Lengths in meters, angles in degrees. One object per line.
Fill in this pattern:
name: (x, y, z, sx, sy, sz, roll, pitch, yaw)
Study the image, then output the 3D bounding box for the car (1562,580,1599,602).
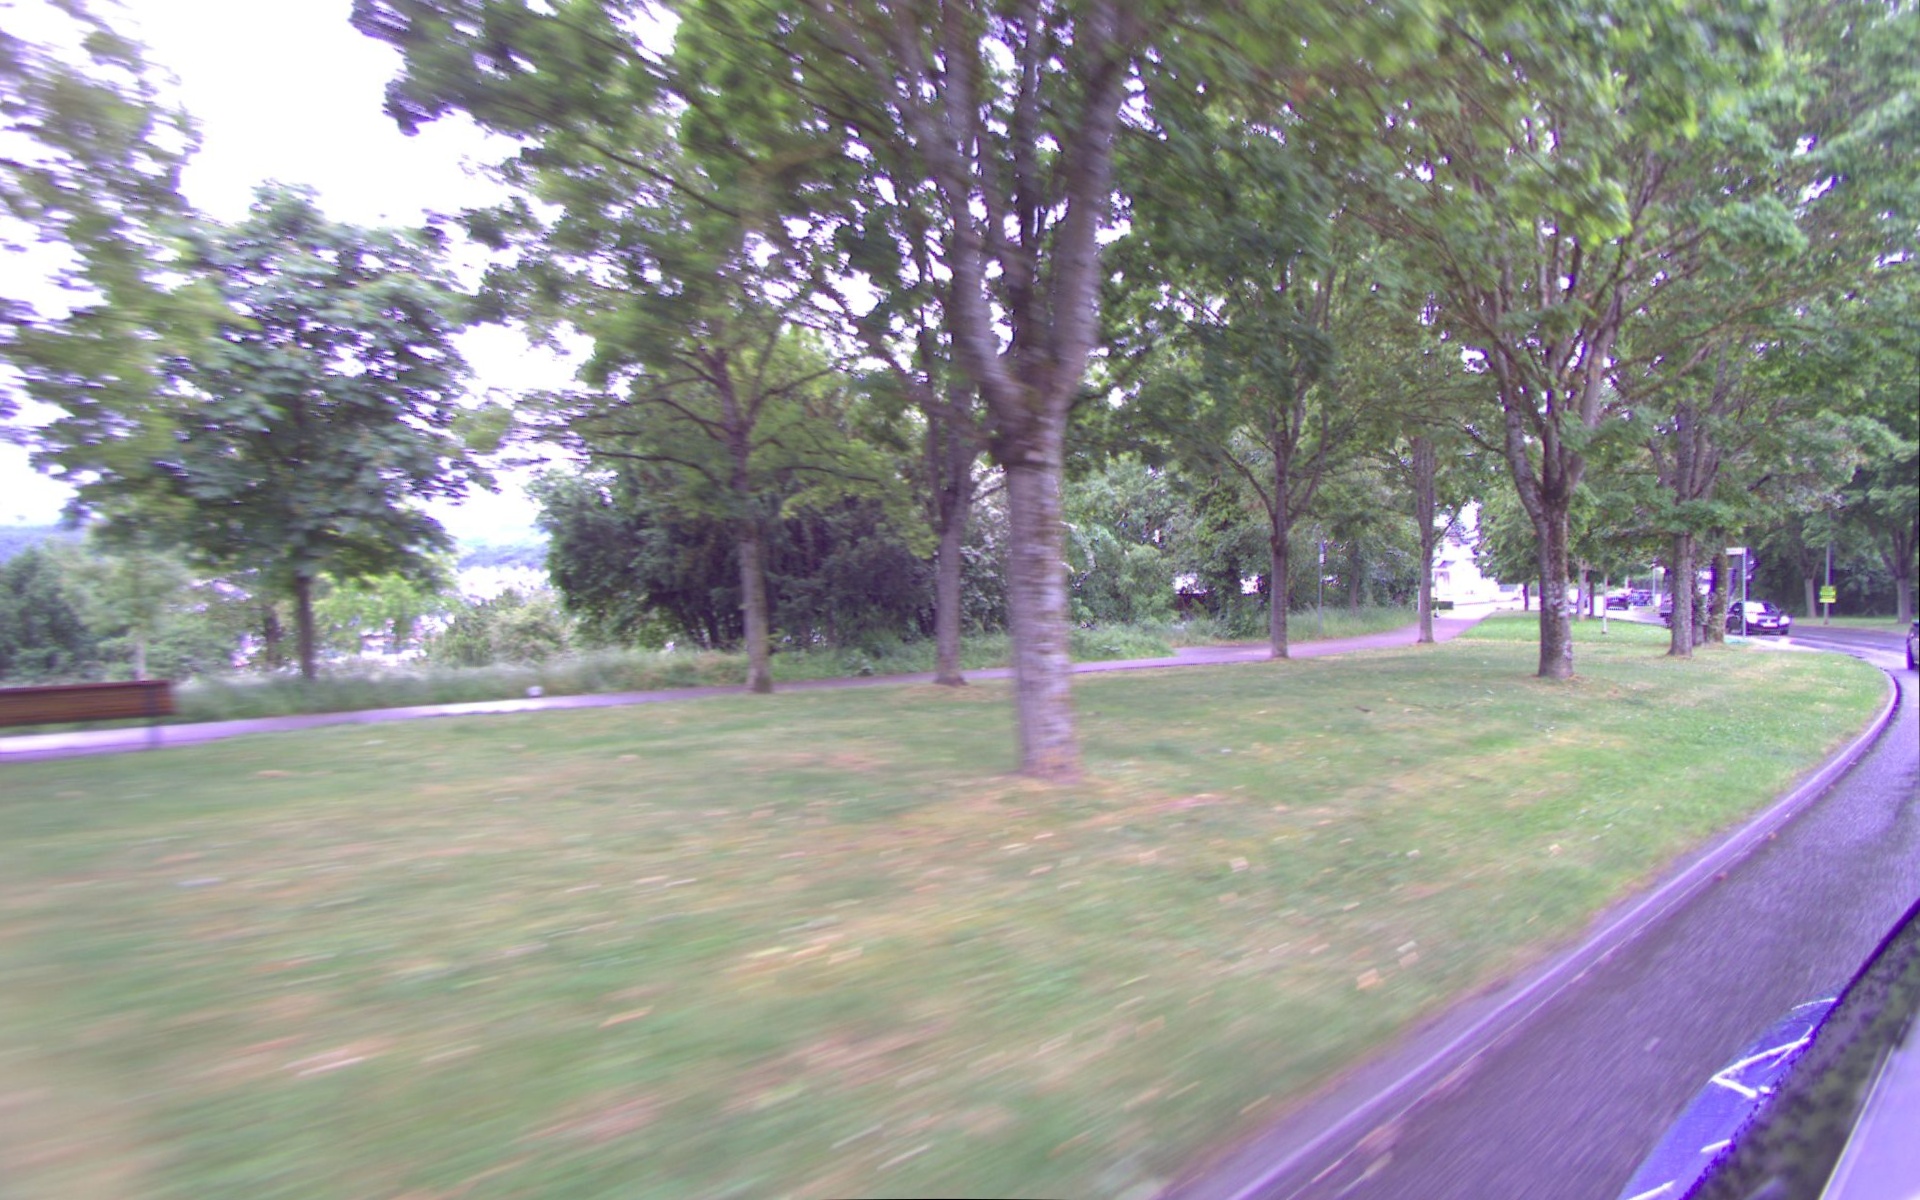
car: (56.918, -0.860, 92.920, 1.974, 1.882, 3.977, -2, 1, 19)

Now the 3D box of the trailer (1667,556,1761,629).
trailer: (33.020, -0.371, 44.534, 1.981, 2.842, 5.560, 6, 3, 25)

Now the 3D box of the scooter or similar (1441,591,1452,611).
scooter or similar: (28.651, 0.070, 59.630, 0.460, 1.161, 1.288, 2, 2, 29)
